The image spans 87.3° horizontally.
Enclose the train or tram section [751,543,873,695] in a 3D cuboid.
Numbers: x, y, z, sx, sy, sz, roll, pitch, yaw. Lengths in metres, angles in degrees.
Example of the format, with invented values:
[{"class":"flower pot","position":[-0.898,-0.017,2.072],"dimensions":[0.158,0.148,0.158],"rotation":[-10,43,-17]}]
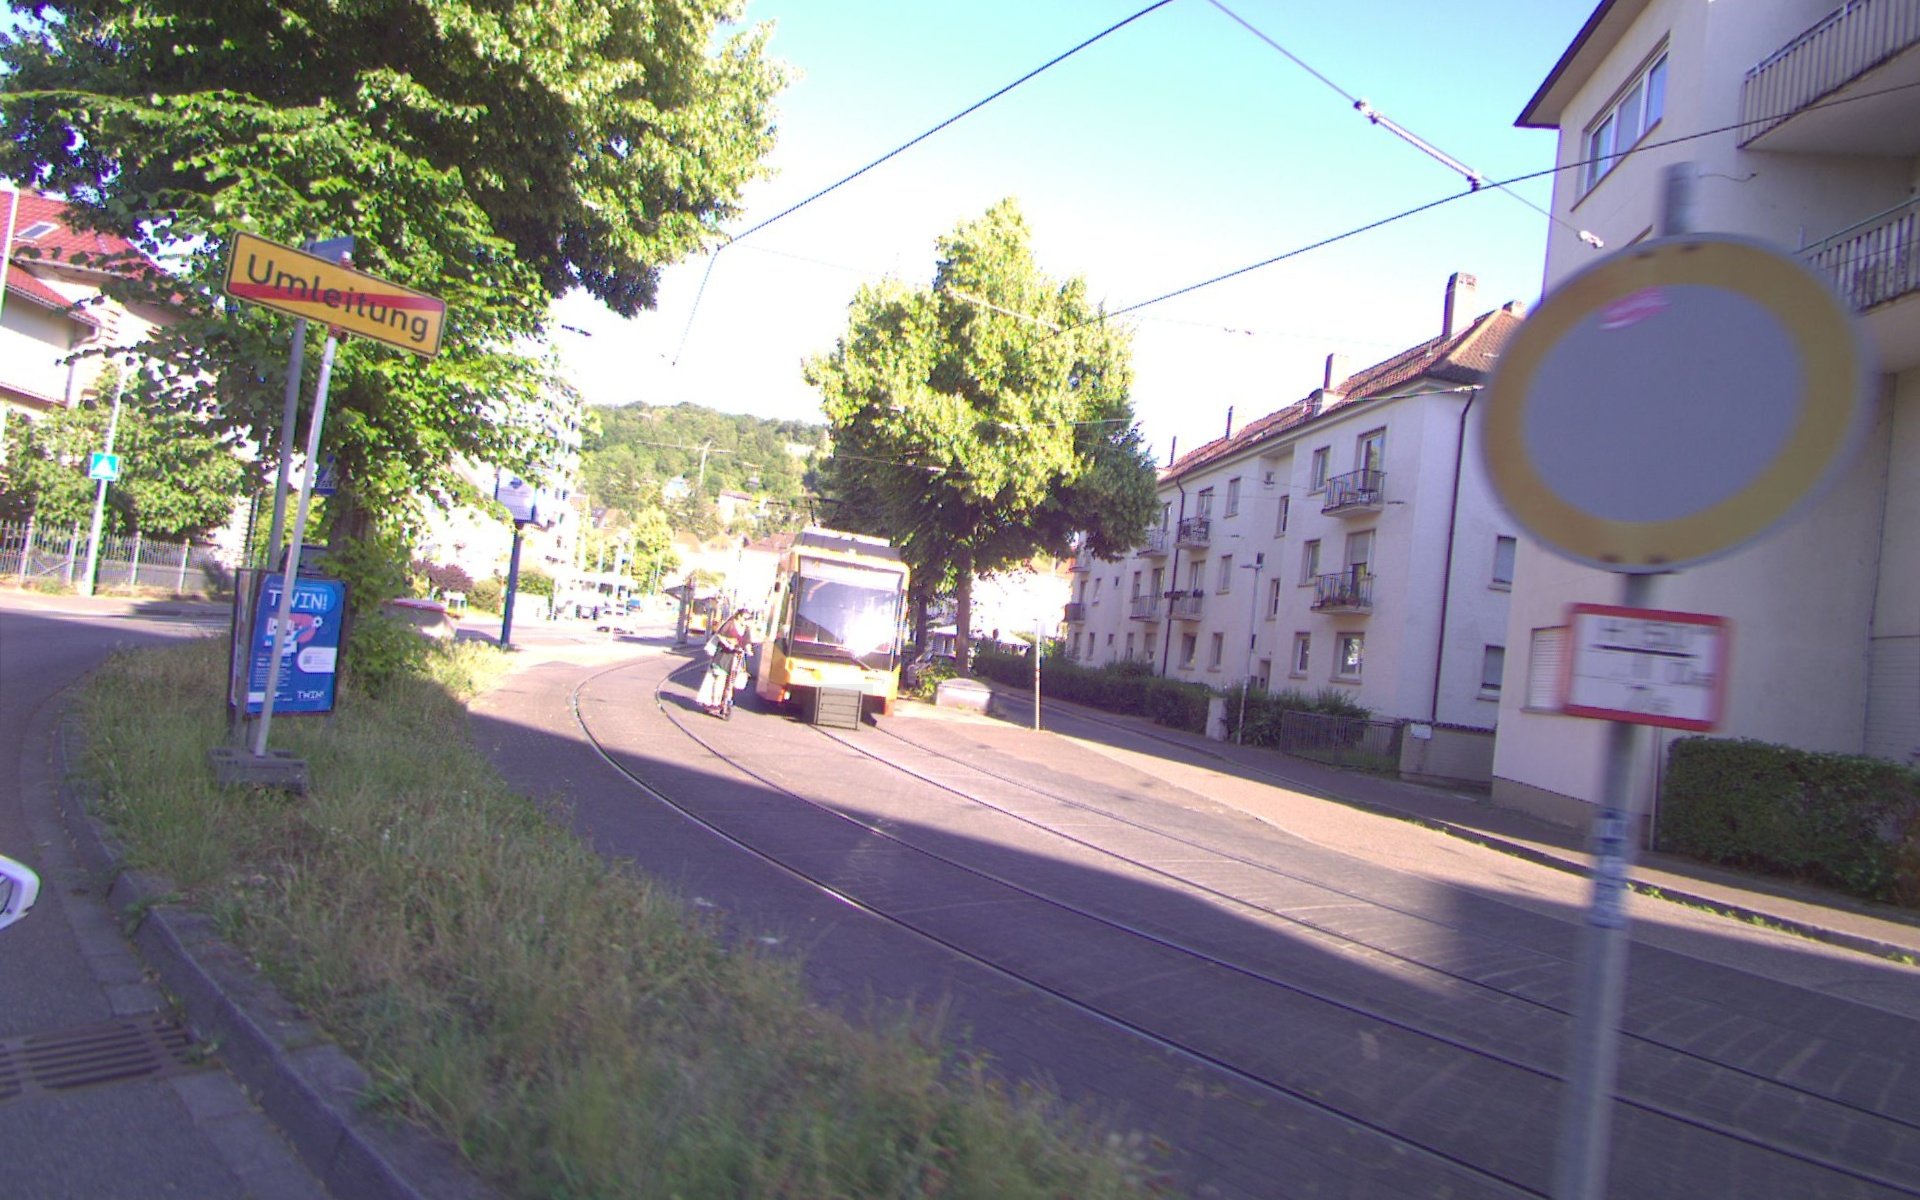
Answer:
[{"class":"train or tram section","position":[-4.742,0.627,31.061],"dimensions":[2.739,3.595,9.909],"rotation":[8,-3,-10]}]

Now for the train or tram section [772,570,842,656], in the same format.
[{"class":"train or tram section","position":[-7.867,0.723,50.600],"dimensions":[2.739,3.595,9.909],"rotation":[8,-3,-10]}]

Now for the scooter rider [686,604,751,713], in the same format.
[{"class":"scooter rider","position":[-3.981,0.959,16.583],"dimensions":[0.651,1.692,0.600],"rotation":[8,-1,-43]}]

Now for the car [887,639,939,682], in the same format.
[{"class":"car","position":[-2.062,2.576,43.135],"dimensions":[1.702,1.546,3.793],"rotation":[8,-4,-8]}]

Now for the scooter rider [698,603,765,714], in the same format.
[{"class":"scooter rider","position":[-3.684,0.937,16.242],"dimensions":[0.651,1.692,0.600],"rotation":[8,-1,-43]}]

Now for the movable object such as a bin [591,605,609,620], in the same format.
[{"class":"movable object such as a bin","position":[-34.136,1.184,95.443],"dimensions":[1.411,1.241,0.956],"rotation":[8,-3,-20]}]

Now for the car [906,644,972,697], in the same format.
[{"class":"car","position":[-0.776,2.363,34.272],"dimensions":[1.660,1.457,3.999],"rotation":[8,-3,-7]}]

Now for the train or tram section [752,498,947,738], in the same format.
[{"class":"train or tram section","position":[-2.784,0.429,21.356],"dimensions":[2.739,3.595,9.905],"rotation":[8,-3,-12]}]

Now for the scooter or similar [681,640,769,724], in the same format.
[{"class":"scooter or similar","position":[-3.826,1.312,16.325],"dimensions":[0.681,1.150,1.390],"rotation":[8,-2,-42]}]

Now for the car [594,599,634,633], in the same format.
[{"class":"car","position":[-21.390,0.993,62.118],"dimensions":[1.973,1.735,3.984],"rotation":[8,-4,-21]}]

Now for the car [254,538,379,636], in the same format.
[{"class":"car","position":[-16.285,-0.314,25.671],"dimensions":[1.977,2.035,3.977],"rotation":[9,-3,-26]}]

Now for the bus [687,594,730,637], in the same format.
[{"class":"bus","position":[-23.148,1.530,93.027],"dimensions":[2.668,3.326,10.207],"rotation":[7,-4,-9]}]

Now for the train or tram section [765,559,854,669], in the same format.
[{"class":"train or tram section","position":[-6.284,0.626,40.835],"dimensions":[2.739,3.595,9.909],"rotation":[8,-3,-10]}]

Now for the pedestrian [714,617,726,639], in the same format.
[{"class":"pedestrian","position":[-20.746,2.396,87.032],"dimensions":[0.543,1.787,0.544],"rotation":[6,-3,29]}]
